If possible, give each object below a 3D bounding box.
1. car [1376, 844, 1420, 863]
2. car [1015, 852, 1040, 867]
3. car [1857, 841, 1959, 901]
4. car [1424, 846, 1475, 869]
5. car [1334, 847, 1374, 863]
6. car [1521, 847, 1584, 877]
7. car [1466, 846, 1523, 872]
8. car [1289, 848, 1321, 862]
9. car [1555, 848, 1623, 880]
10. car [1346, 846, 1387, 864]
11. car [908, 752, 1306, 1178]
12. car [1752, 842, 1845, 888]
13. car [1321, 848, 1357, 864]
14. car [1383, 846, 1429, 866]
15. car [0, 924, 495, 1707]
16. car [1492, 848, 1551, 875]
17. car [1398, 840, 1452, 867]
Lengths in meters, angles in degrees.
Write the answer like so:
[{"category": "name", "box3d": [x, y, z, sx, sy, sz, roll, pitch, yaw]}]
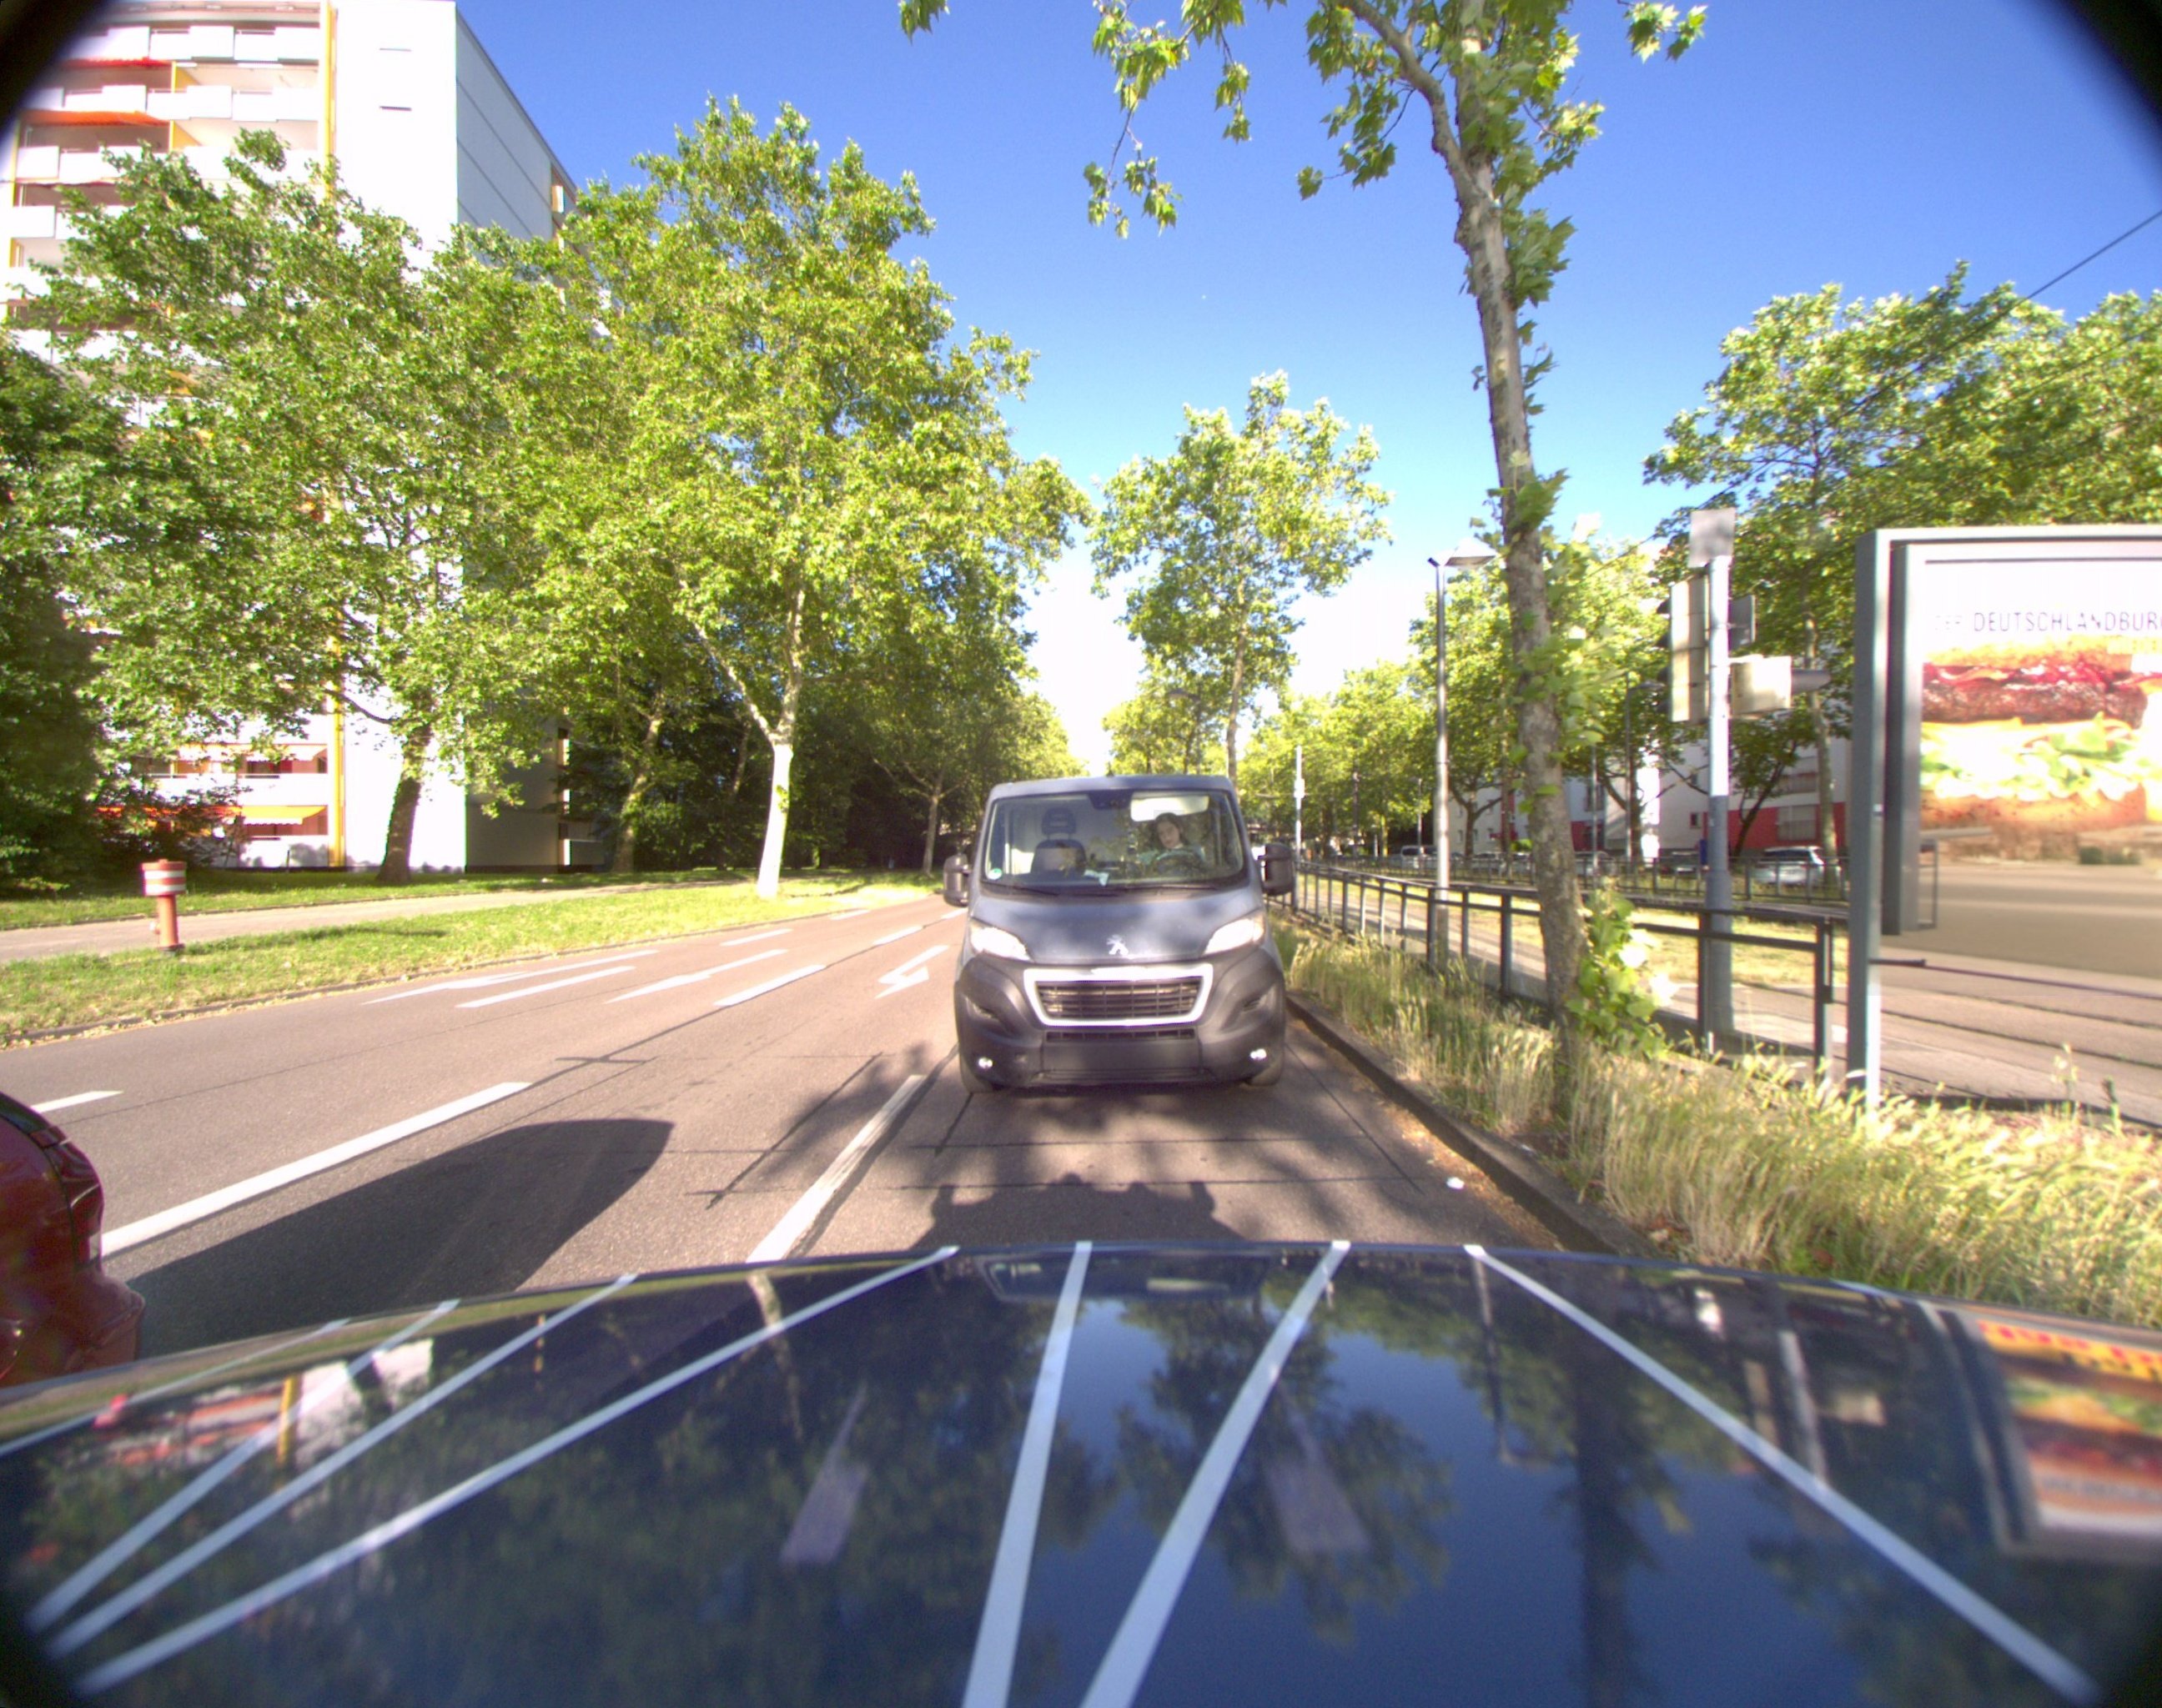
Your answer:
[{"category": "car", "box3d": [26.585, -0.086, 63.684, 4.057, 1.490, 1.791, -1, 0, -41]}, {"category": "car", "box3d": [-5.523, 0.555, 77.920, 1.915, 1.549, 4.722, -1, 0, -11]}, {"category": "car", "box3d": [25.269, 0.482, 23.184, 4.057, 1.654, 1.791, -1, 0, -38]}, {"category": "car", "box3d": [26.296, 0.240, 54.164, 4.057, 1.490, 1.791, -1, 0, -41]}, {"category": "car", "box3d": [26.157, 0.097, 72.711, 4.057, 1.490, 1.791, -1, 0, -41]}, {"category": "car", "box3d": [25.928, 0.432, 41.740, 4.057, 1.490, 1.791, -1, 0, -41]}, {"category": "car", "box3d": [25.994, 0.282, 47.688, 4.057, 1.490, 1.791, -1, 0, -41]}, {"category": "car", "box3d": [26.571, 0.095, 90.099, 4.057, 1.490, 1.791, -1, 0, -41]}, {"category": "car", "box3d": [25.395, 0.476, 37.926, 4.057, 1.490, 1.791, -1, 0, -41]}, {"category": "car", "box3d": [26.075, 0.100, 69.334, 4.057, 1.490, 1.791, -1, 0, -41]}, {"category": "car", "box3d": [0.175, 0.566, 6.786, 2.040, 2.191, 5.661, -1, 0, 1]}, {"category": "car", "box3d": [25.244, 0.360, 26.688, 4.057, 1.490, 1.791, -1, 0, -38]}, {"category": "car", "box3d": [27.015, 0.194, 79.442, 4.057, 1.490, 1.791, -1, 0, -41]}, {"category": "car", "box3d": [25.849, 0.143, 60.348, 4.057, 1.490, 1.791, -1, 0, -41]}, {"category": "car", "box3d": [-2.989, 1.023, 0.259, 1.771, 1.549, 4.727, -1, 0, 2]}, {"category": "car", "box3d": [26.100, 0.419, 44.958, 4.057, 1.490, 1.791, -1, 0, -41]}, {"category": "car", "box3d": [25.868, -0.064, 57.045, 4.441, 1.908, 2.016, -1, 0, -41]}]
